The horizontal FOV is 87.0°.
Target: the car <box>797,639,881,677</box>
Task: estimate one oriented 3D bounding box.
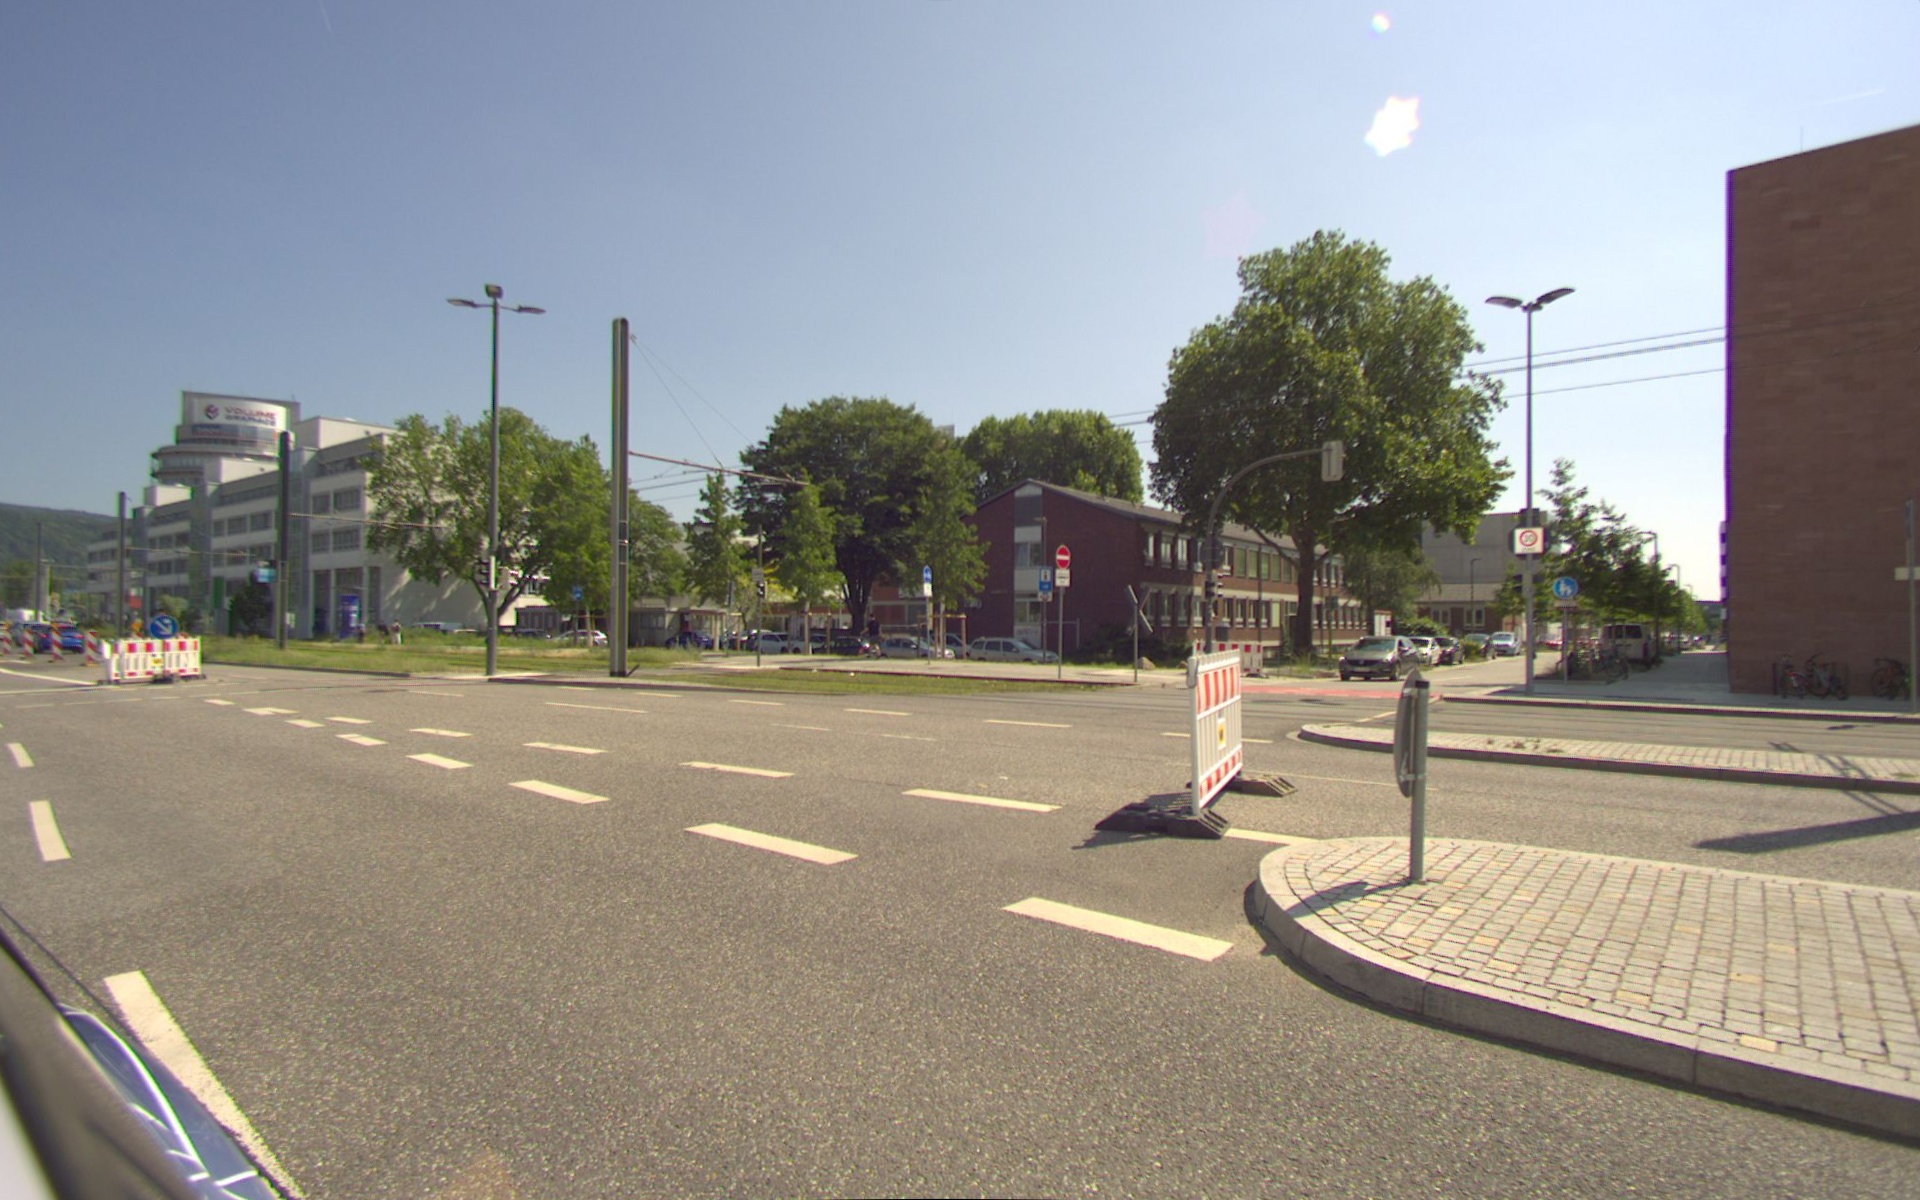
[{"bbox_3d":[-6.330,2.985,52.851,4.525,1.774,1.681,0,0,39],"label":"car"}]

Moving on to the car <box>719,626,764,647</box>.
[{"bbox_3d":[-16.763,2.771,77.569,3.340,1.464,1.523,-1,0,37],"label":"car"}]

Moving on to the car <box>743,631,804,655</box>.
[{"bbox_3d":[-12.098,2.777,65.488,4.262,1.468,1.523,-1,-1,39],"label":"car"}]

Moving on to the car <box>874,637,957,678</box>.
[{"bbox_3d":[-2.198,2.762,49.517,3.935,1.774,1.681,0,0,39],"label":"car"}]

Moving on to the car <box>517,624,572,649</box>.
[{"bbox_3d":[-28.336,2.480,69.017,3.627,1.603,1.753,-1,0,34],"label":"car"}]

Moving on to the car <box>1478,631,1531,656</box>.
[{"bbox_3d":[34.493,2.735,64.057,2.000,1.413,3.943,0,0,43],"label":"car"}]

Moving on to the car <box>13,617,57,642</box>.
[{"bbox_3d":[-55.154,1.749,60.318,4.296,1.427,1.563,0,-2,43],"label":"car"}]

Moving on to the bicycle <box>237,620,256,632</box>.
[{"bbox_3d":[-77.070,2.800,109.317,0.438,1.198,1.630,-1,0,38],"label":"bicycle"}]

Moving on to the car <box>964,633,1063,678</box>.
[{"bbox_3d":[2.393,2.469,45.920,4.296,1.774,1.681,0,0,39],"label":"car"}]

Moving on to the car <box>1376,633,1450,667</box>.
[{"bbox_3d":[21.377,2.321,47.674,2.000,1.413,3.943,0,0,43],"label":"car"}]

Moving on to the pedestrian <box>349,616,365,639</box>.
[{"bbox_3d":[-42.220,1.913,70.871,0.826,1.588,0.805,-1,-1,43],"label":"pedestrian"}]

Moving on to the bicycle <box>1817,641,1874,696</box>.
[{"bbox_3d":[21.189,1.615,24.246,0.537,1.221,2.038,-1,-1,27],"label":"bicycle"}]

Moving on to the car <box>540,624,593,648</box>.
[{"bbox_3d":[-27.850,2.502,71.591,3.627,1.603,1.753,-1,0,34],"label":"car"}]

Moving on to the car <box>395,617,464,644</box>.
[{"bbox_3d":[-44.166,2.553,84.350,4.988,2.196,2.121,1,-1,-25],"label":"car"}]

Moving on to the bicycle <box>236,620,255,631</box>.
[{"bbox_3d":[-78.503,2.782,111.143,0.438,1.198,1.628,-1,0,44],"label":"bicycle"}]

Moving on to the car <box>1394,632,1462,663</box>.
[{"bbox_3d":[23.839,2.370,51.483,2.000,1.413,3.943,0,0,43],"label":"car"}]

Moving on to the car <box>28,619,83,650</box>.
[{"bbox_3d":[-44.400,1.669,49.672,4.290,1.438,1.610,-1,-3,43],"label":"car"}]

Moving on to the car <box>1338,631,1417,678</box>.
[{"bbox_3d":[13.663,1.738,33.036,1.571,1.380,3.446,-1,-1,37],"label":"car"}]

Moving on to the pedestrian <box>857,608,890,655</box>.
[{"bbox_3d":[-3.458,1.251,40.594,1.108,1.861,0.802,-1,-1,44],"label":"pedestrian"}]

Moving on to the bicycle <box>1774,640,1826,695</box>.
[{"bbox_3d":[20.659,1.632,24.930,0.537,1.221,2.038,-1,-1,27],"label":"bicycle"}]

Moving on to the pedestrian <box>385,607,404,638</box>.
[{"bbox_3d":[-37.548,1.479,67.165,0.983,2.029,0.830,-1,-1,41],"label":"pedestrian"}]

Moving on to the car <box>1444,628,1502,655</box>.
[{"bbox_3d":[29.687,2.369,58.517,2.000,1.413,3.943,0,0,43],"label":"car"}]

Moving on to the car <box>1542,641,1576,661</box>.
[{"bbox_3d":[49.817,4.206,84.139,1.997,1.413,3.949,0,0,37],"label":"car"}]

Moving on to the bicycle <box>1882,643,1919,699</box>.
[{"bbox_3d":[22.422,1.646,23.807,0.537,1.221,2.038,-1,-1,27],"label":"bicycle"}]

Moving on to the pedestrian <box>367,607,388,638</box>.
[{"bbox_3d":[-38.250,1.463,66.491,0.910,2.029,0.973,-1,0,41],"label":"pedestrian"}]

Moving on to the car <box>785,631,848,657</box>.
[{"bbox_3d":[-8.734,2.661,61.462,3.778,1.468,1.525,0,-1,35],"label":"car"}]

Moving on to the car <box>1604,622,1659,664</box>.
[{"bbox_3d":[29.268,1.854,44.097,1.692,1.702,3.509,-1,-1,38],"label":"car"}]

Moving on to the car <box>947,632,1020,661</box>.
[{"bbox_3d":[1.224,2.457,53.970,3.783,1.468,1.523,-1,-1,39],"label":"car"}]

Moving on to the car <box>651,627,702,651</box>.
[{"bbox_3d":[-21.240,2.899,75.734,3.627,1.603,1.753,-1,0,34],"label":"car"}]
